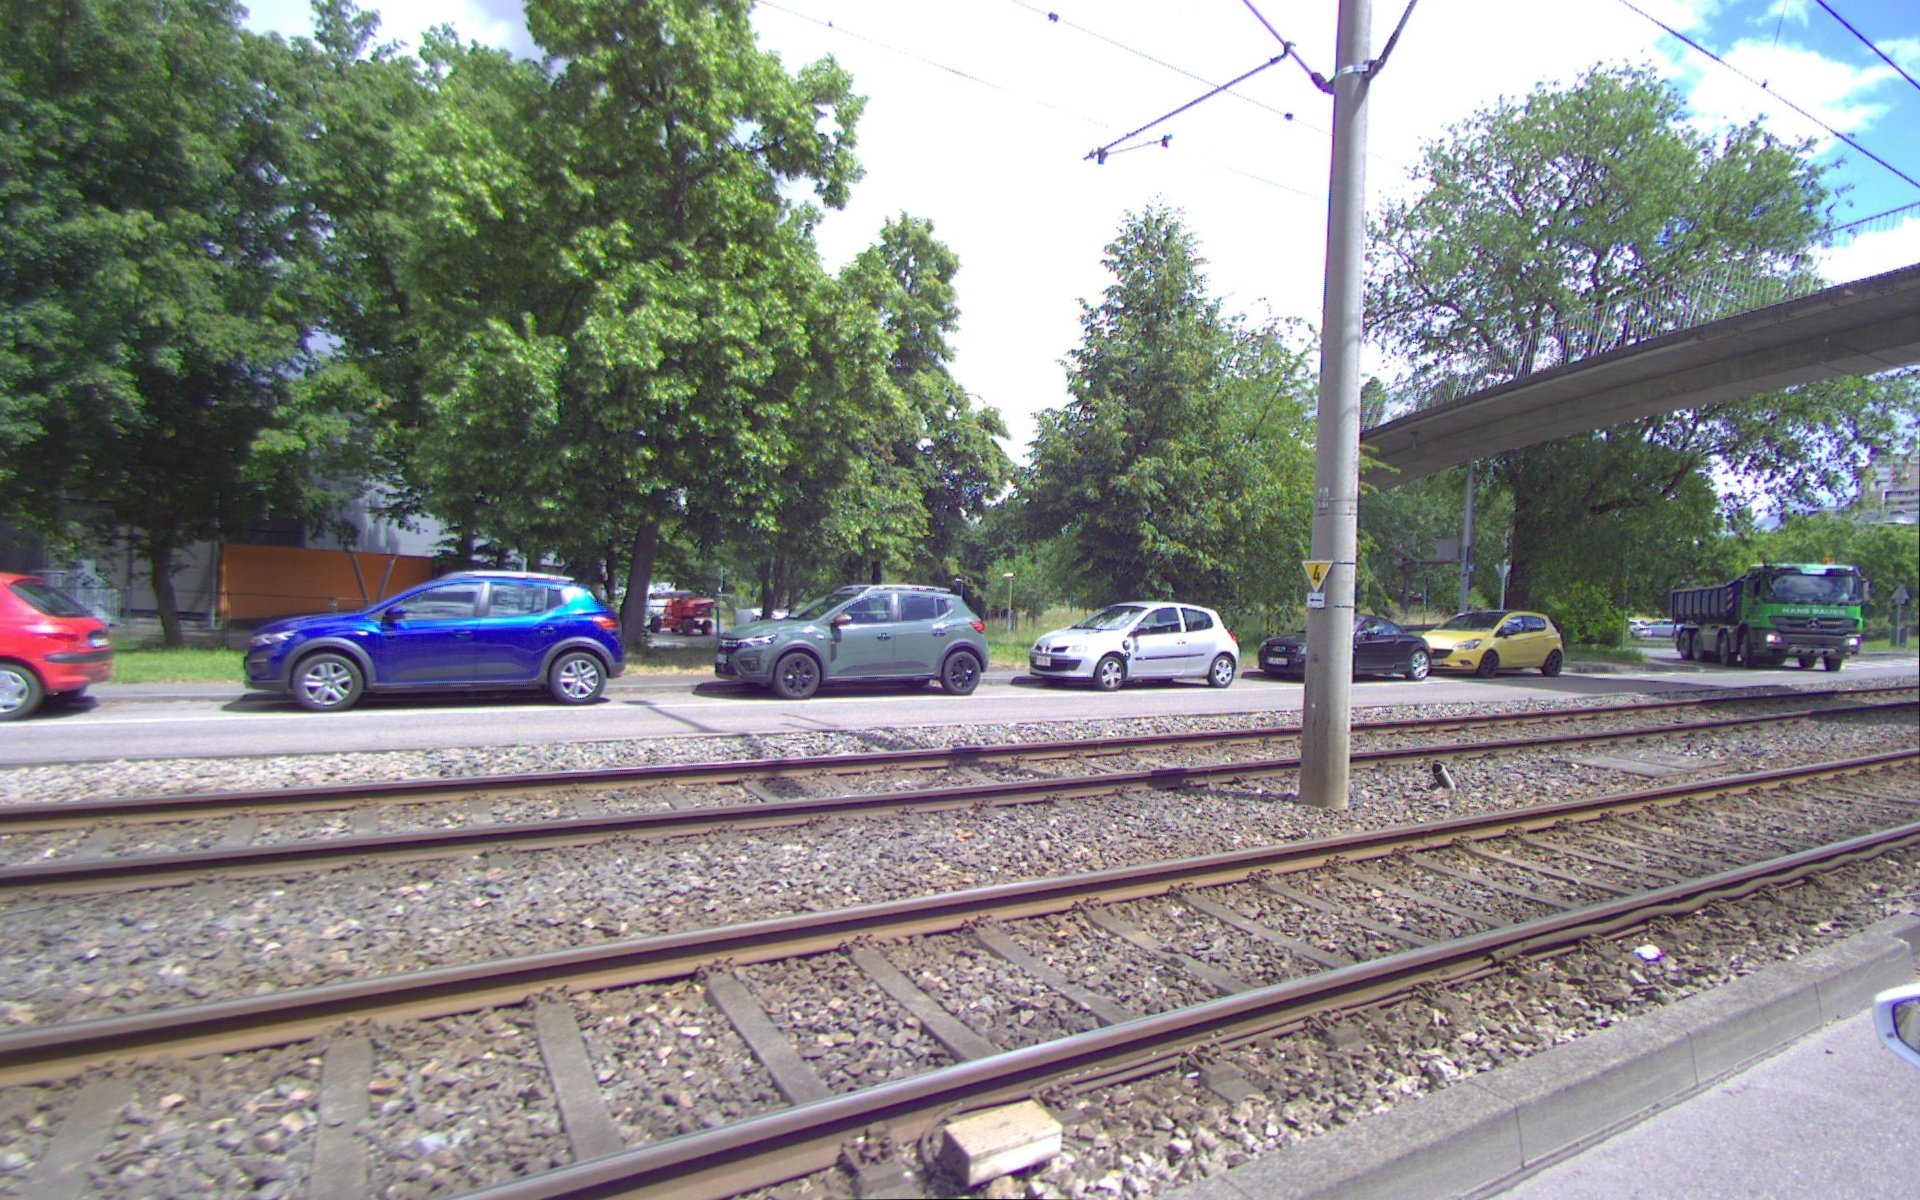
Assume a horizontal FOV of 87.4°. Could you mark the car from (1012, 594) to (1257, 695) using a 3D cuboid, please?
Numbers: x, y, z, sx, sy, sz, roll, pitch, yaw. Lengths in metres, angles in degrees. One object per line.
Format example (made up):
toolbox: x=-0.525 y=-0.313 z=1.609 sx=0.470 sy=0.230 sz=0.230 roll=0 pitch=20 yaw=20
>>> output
car: x=3.098 y=0.763 z=17.519 sx=4.145 sy=1.514 sz=1.585 roll=2 pitch=2 yaw=-32

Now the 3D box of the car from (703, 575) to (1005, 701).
car: x=-1.514 y=0.534 z=14.736 sx=4.076 sy=1.644 sz=1.635 roll=2 pitch=0 yaw=-30

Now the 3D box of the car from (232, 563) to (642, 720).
car: x=-6.098 y=0.471 z=12.090 sx=4.110 sy=1.617 sz=1.550 roll=1 pitch=-1 yaw=-30

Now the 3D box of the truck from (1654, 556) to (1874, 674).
truck: x=26.267 y=0.394 z=33.467 sx=2.824 sy=3.364 sz=9.030 roll=0 pitch=1 yaw=19

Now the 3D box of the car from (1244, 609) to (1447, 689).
car: x=7.773 y=0.996 z=20.162 sx=4.079 sy=1.378 sz=1.504 roll=3 pitch=2 yaw=-30

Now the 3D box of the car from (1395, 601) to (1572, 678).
car: x=11.889 y=0.901 z=22.770 sx=3.852 sy=1.469 sz=1.681 roll=3 pitch=1 yaw=-30

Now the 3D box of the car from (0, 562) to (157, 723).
car: x=-10.415 y=0.368 z=9.617 sx=3.997 sy=1.514 sz=1.606 roll=1 pitch=1 yaw=-29

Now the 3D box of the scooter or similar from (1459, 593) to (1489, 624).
scooter or similar: x=20.639 y=0.333 z=40.328 sx=0.778 sy=1.162 sz=0.707 roll=3 pitch=2 yaw=-28
